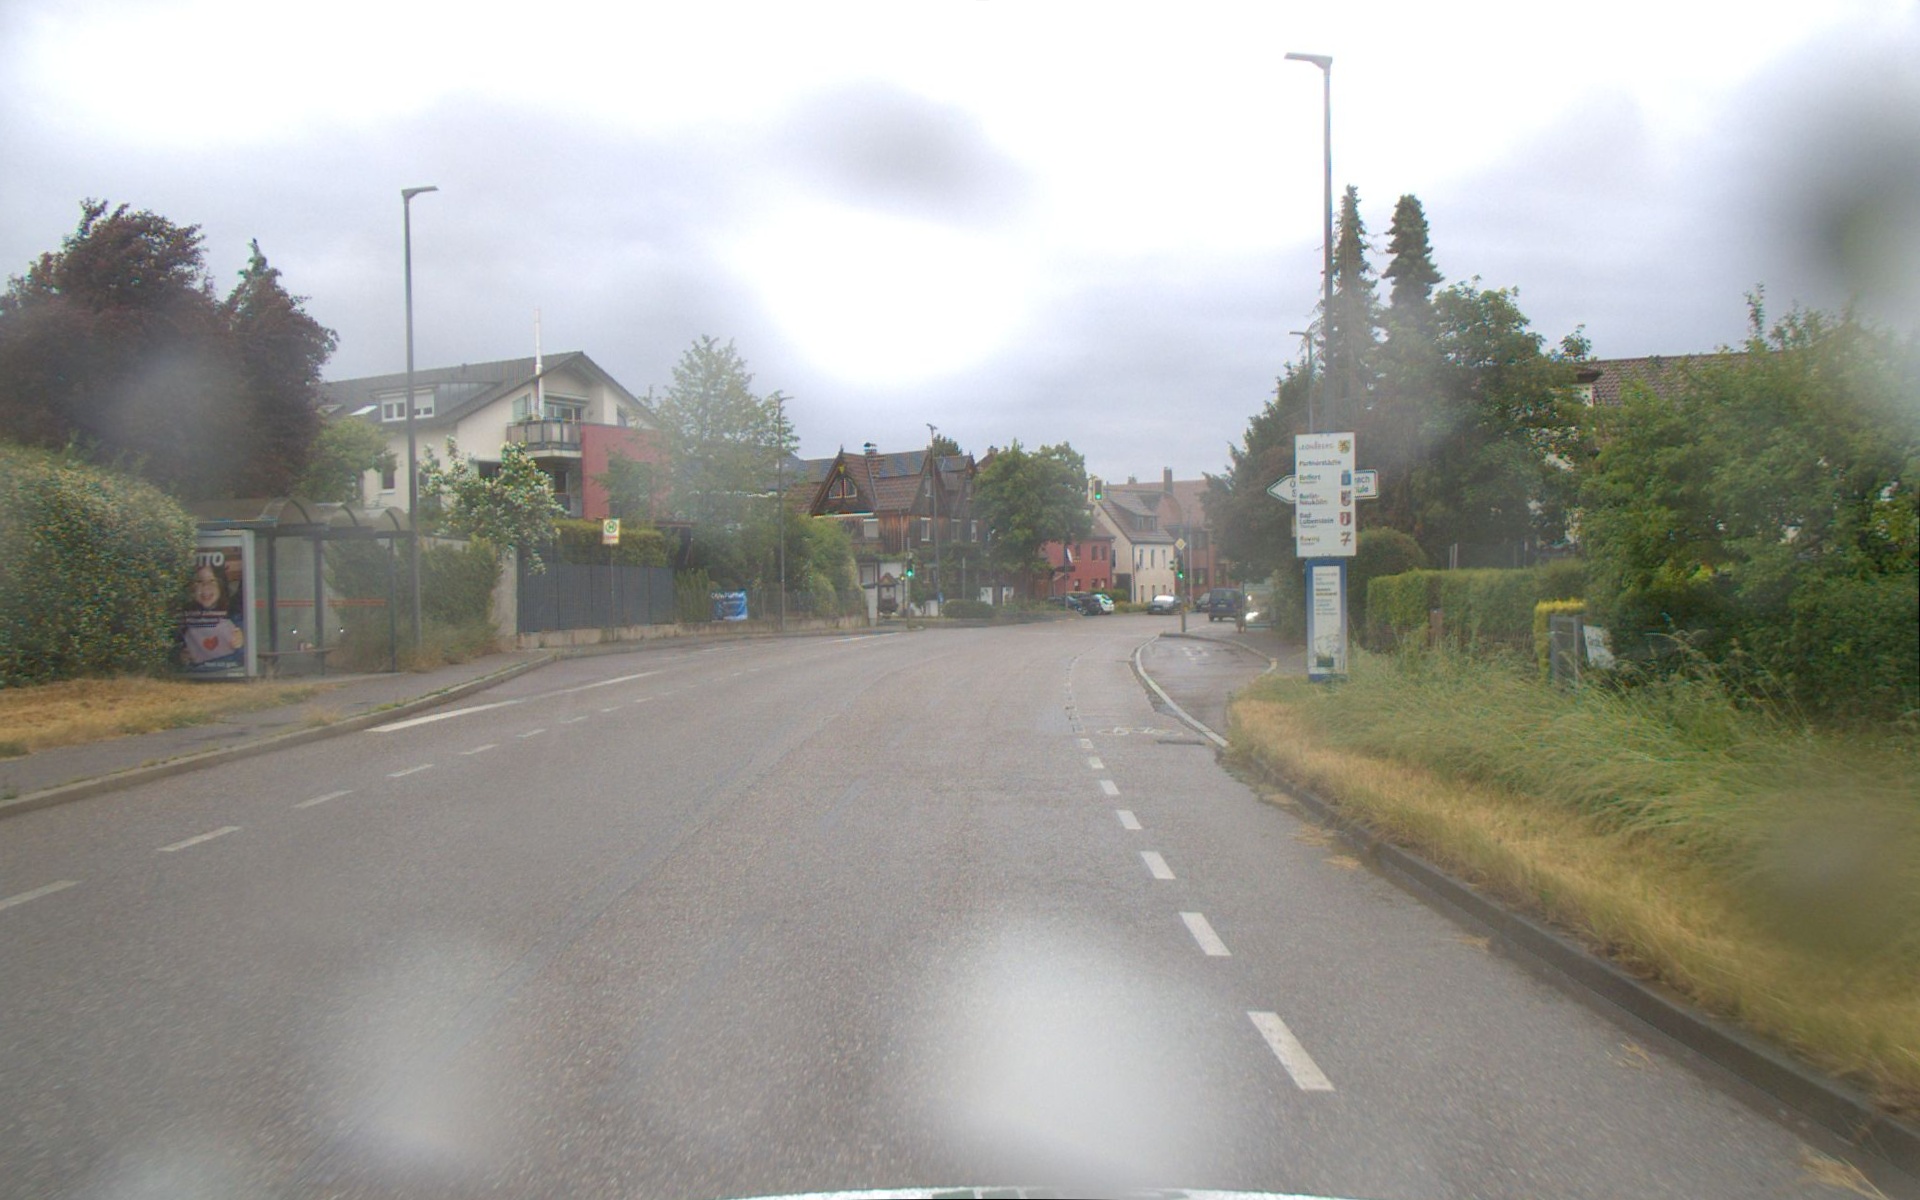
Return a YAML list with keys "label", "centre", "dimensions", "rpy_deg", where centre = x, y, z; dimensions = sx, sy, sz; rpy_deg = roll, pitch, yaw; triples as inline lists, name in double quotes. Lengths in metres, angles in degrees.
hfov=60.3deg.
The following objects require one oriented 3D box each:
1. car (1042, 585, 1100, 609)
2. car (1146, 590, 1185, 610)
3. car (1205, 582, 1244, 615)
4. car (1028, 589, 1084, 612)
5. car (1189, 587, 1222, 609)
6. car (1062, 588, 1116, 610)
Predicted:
- label: "car"
  centre: [7.526, -0.206, 112.209]
  dimensions: [3.509, 1.532, 1.852]
  rpy_deg: [2, 1, 30]
- label: "car"
  centre: [14.736, -0.037, 118.415]
  dimensions: [1.594, 1.379, 4.108]
  rpy_deg: [1, 1, 25]
- label: "car"
  centre: [16.407, -0.118, 102.382]
  dimensions: [1.890, 1.935, 4.797]
  rpy_deg: [1, 1, 15]
- label: "car"
  centre: [6.374, 0.044, 110.053]
  dimensions: [3.380, 1.443, 1.630]
  rpy_deg: [-1, 0, 29]
- label: "car"
  centre: [18.957, -0.171, 127.809]
  dimensions: [1.574, 1.646, 3.273]
  rpy_deg: [-1, 0, 27]
- label: "car"
  centre: [9.040, -0.076, 115.785]
  dimensions: [3.395, 1.505, 1.588]
  rpy_deg: [-1, 0, 29]
